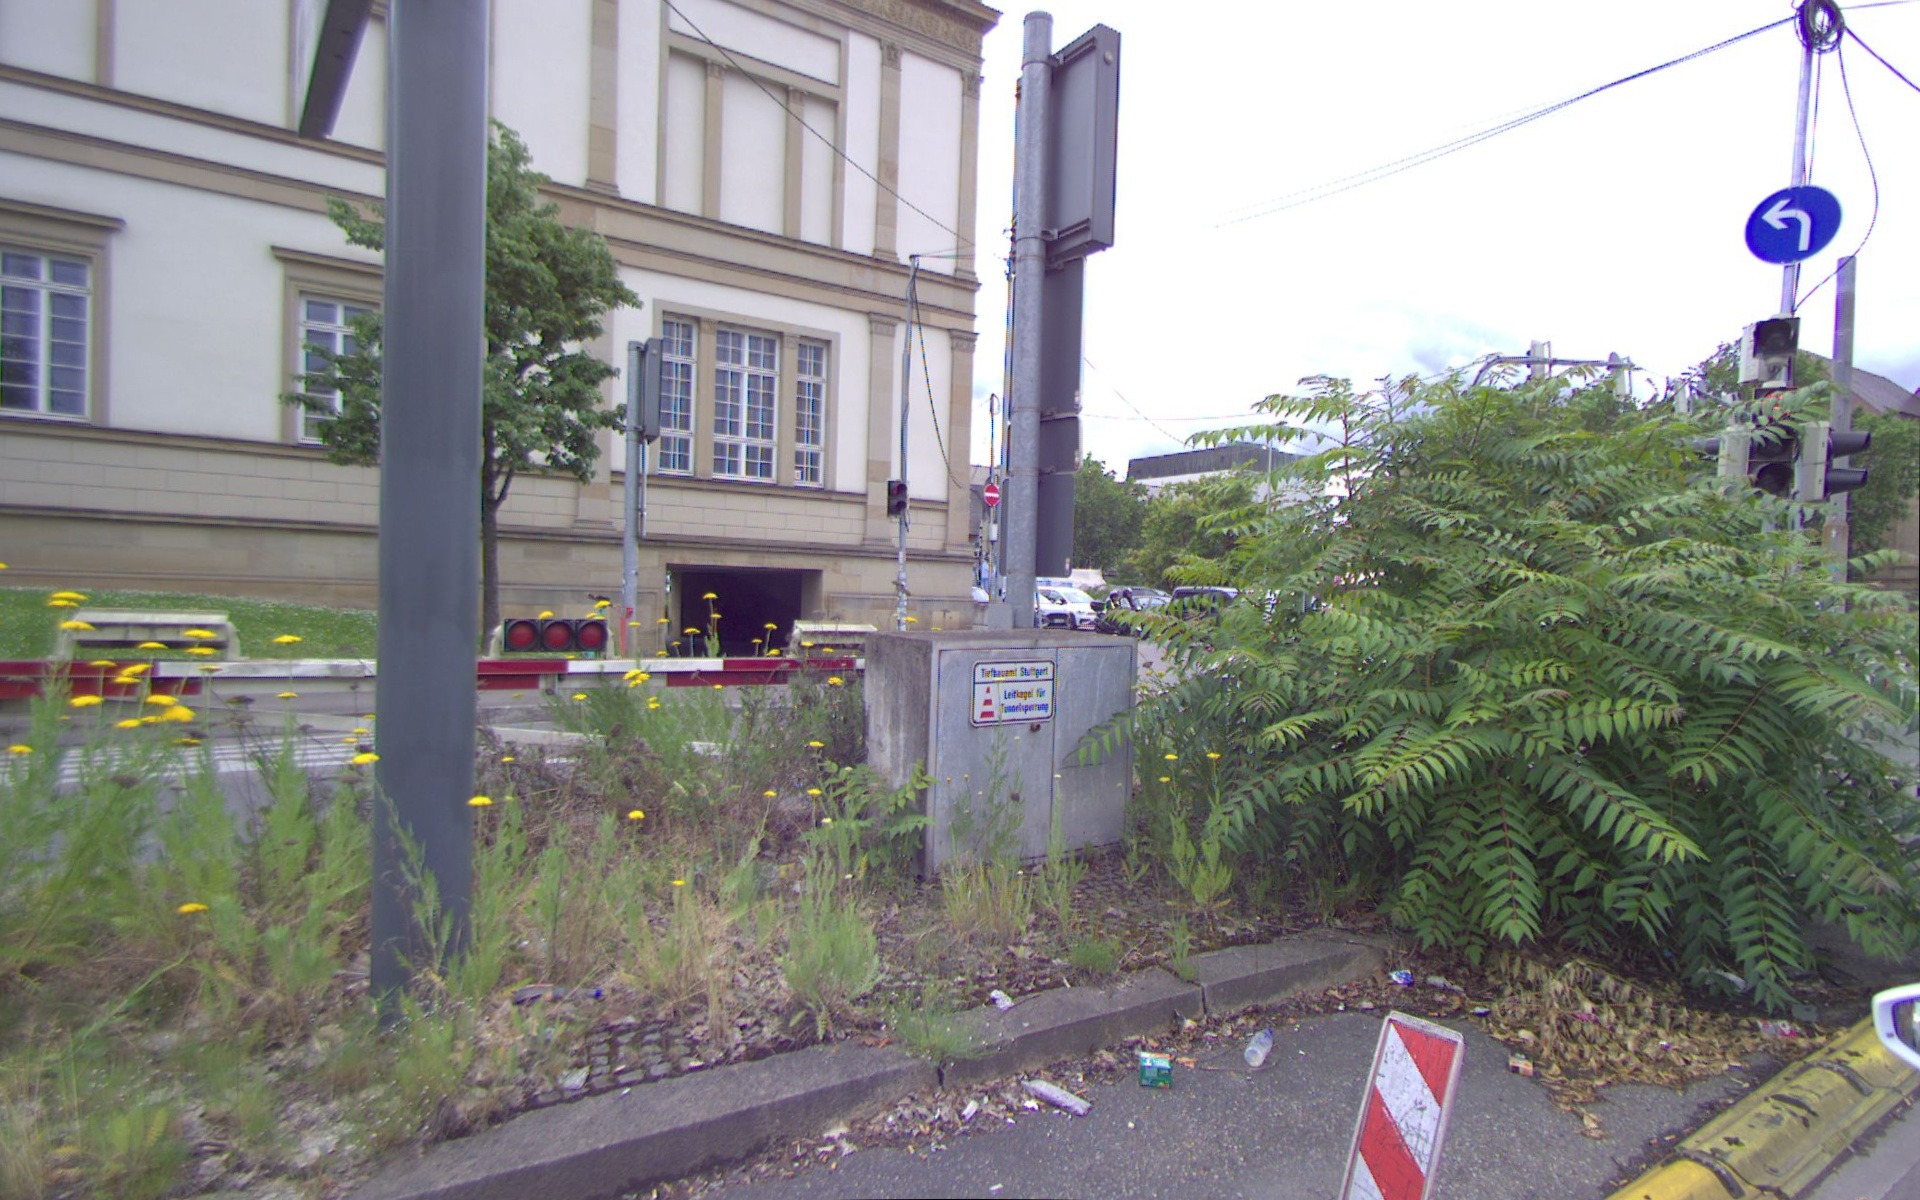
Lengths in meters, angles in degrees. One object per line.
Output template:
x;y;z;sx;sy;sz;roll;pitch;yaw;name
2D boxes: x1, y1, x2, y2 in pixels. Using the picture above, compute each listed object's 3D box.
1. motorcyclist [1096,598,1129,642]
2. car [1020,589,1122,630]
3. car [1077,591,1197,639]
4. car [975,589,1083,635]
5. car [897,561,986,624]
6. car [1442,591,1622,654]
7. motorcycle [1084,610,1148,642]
4.986;0.658;32.835;0.690;1.398;0.784;2;0;-33;motorcyclist
4.422;0.363;40.693;1.978;1.568;4.084;2;0;-32;car
6.281;0.513;36.059;1.978;1.568;4.084;2;0;-32;car
2.510;0.417;37.583;1.978;1.568;4.083;2;0;-32;car
-0.841;-0.330;43.600;1.978;2.585;4.083;2;0;-32;car
17.793;0.662;31.432;1.982;1.783;4.456;2;0;-37;car
5.046;0.832;32.726;0.690;0.953;2.335;2;0;-32;motorcycle
